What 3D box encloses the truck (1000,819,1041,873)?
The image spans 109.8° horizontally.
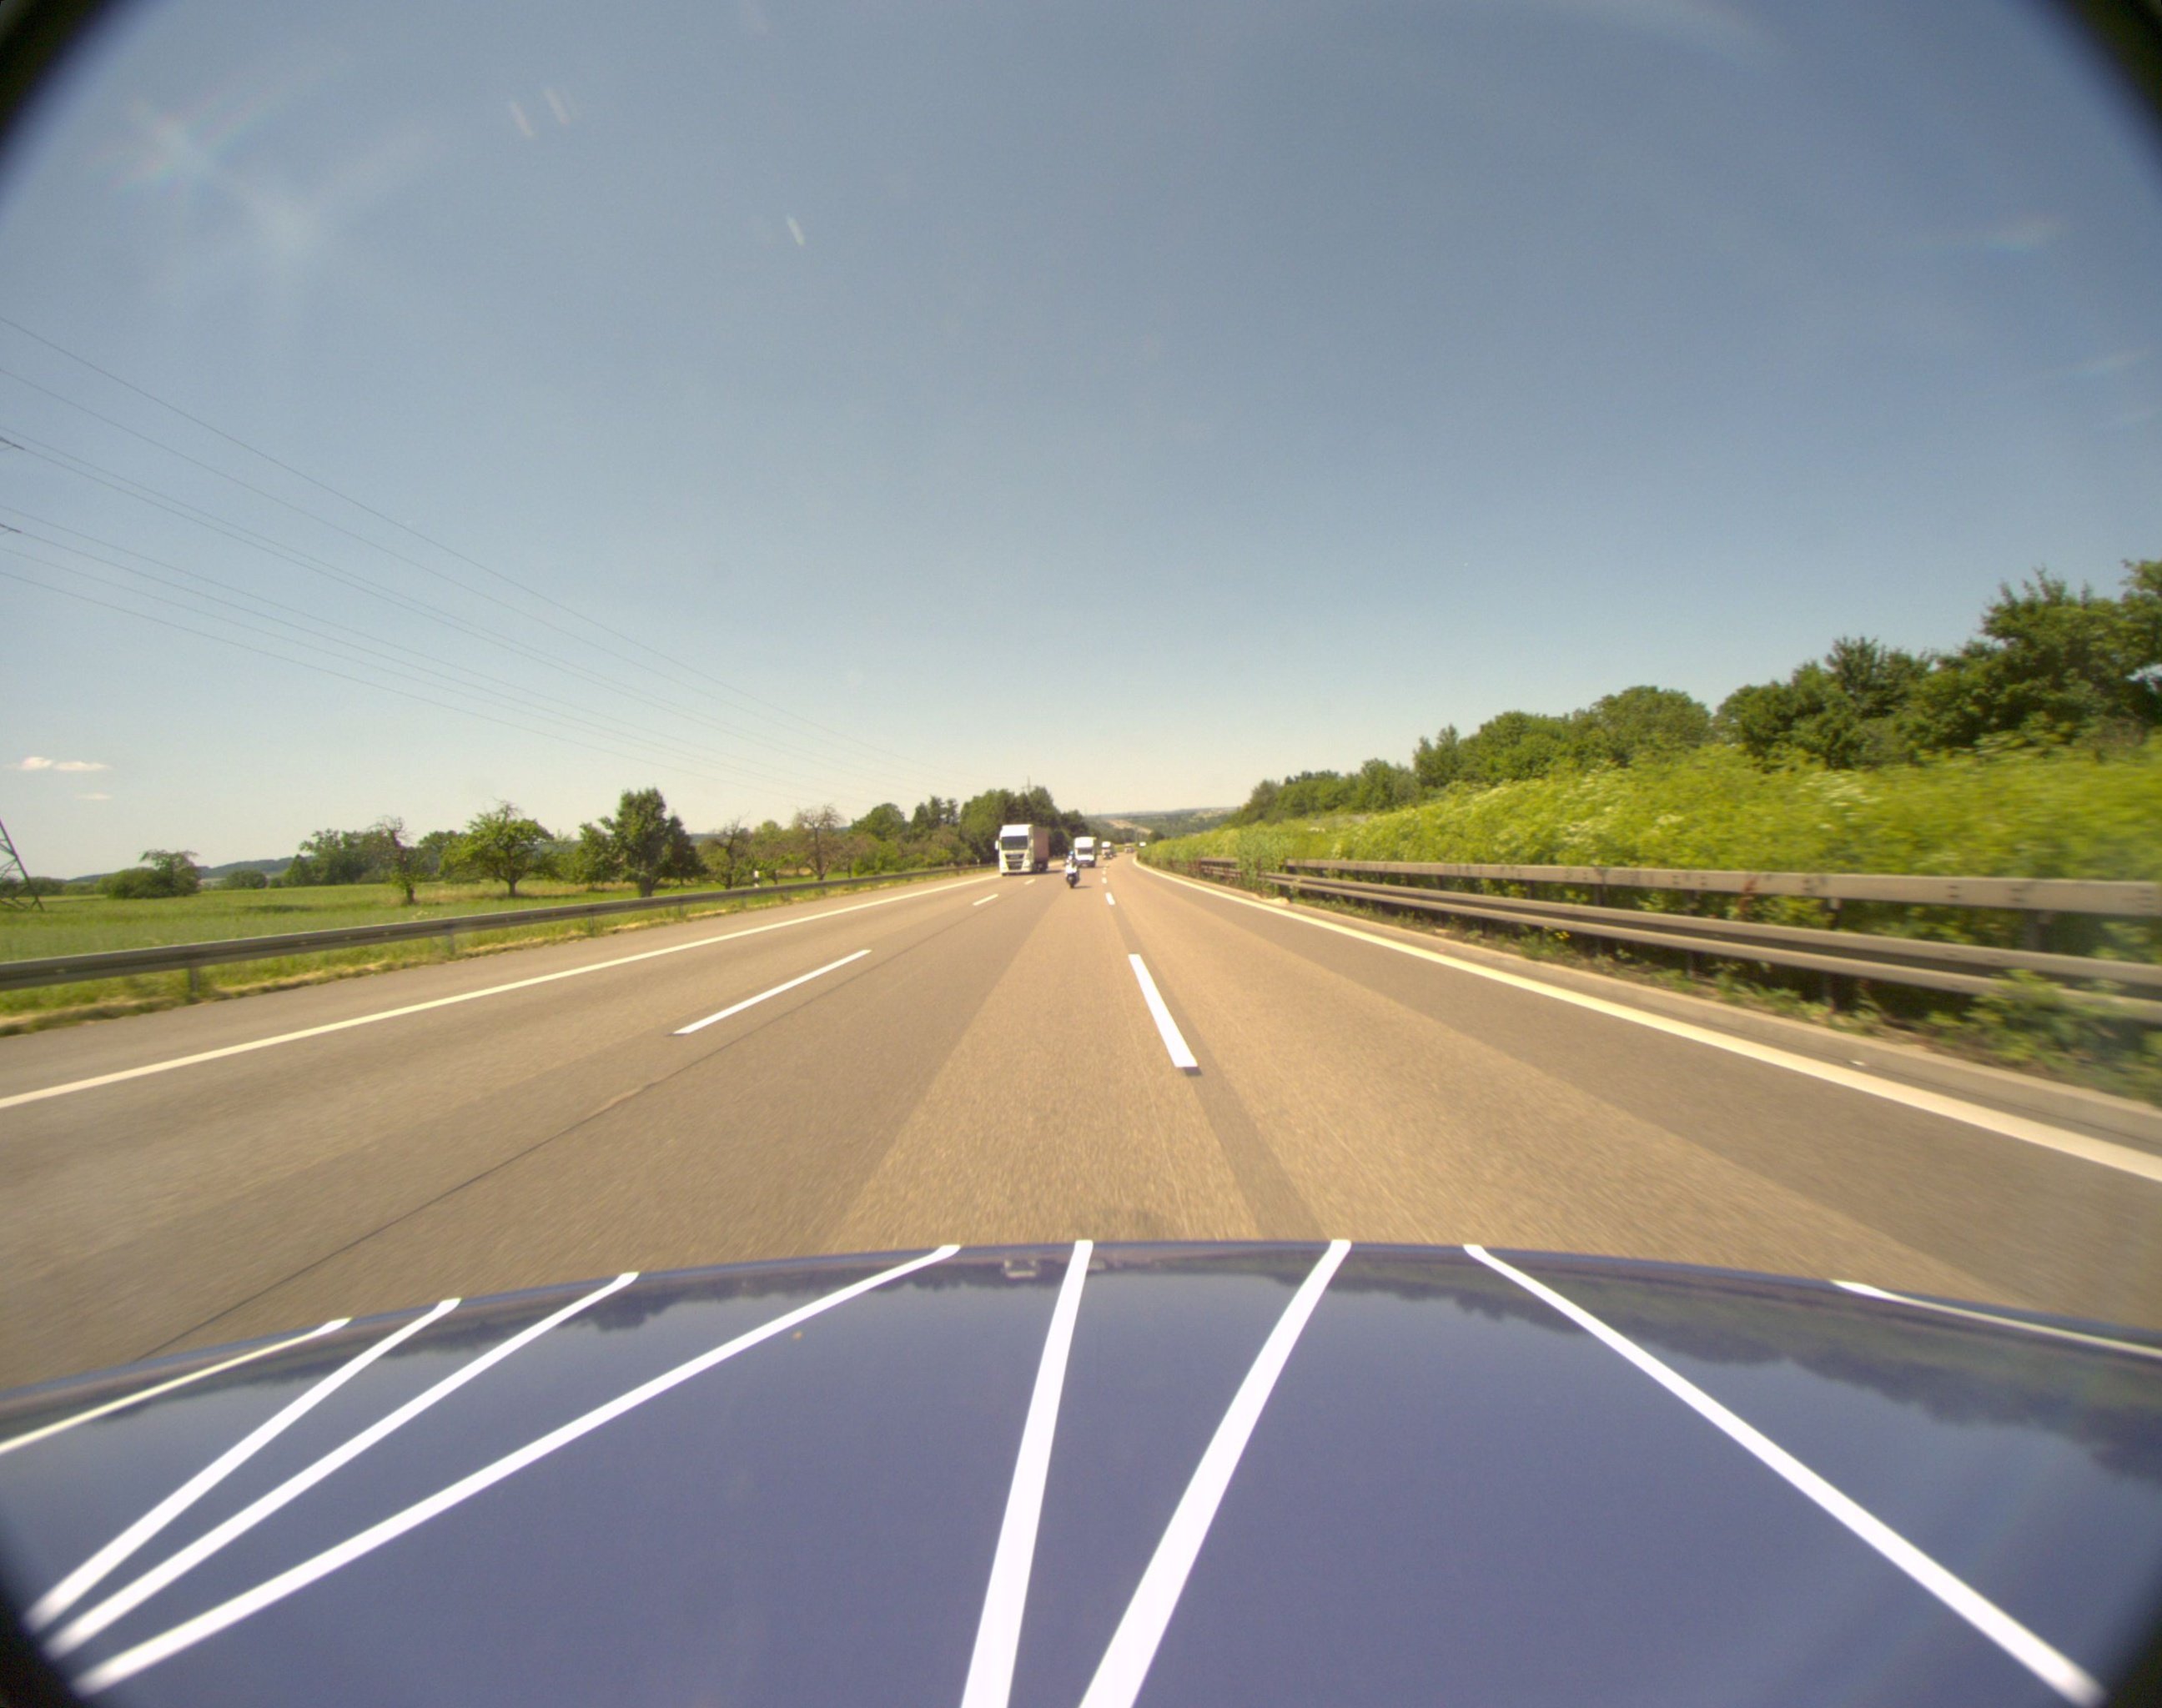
[{"bbox_3d":[-4.875,-0.655,62.676,2.567,4.130,6.248,-2,1,2],"label":"truck"}]

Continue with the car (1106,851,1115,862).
[{"bbox_3d":[5.983,0.494,154.050,1.704,1.958,4.000,-2,1,3],"label":"car"}]

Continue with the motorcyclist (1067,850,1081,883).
[{"bbox_3d":[-0.330,0.554,35.213,0.613,1.499,0.513,-2,1,-1],"label":"motorcyclist"}]

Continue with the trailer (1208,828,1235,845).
[{"bbox_3d":[24.504,-2.987,132.936,2.680,2.785,12.314,-2,1,2],"label":"trailer"}]

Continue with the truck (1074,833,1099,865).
[{"bbox_3d":[0.648,-0.558,83.911,2.512,3.268,8.106,-1,1,1],"label":"truck"}]

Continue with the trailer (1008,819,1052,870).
[{"bbox_3d":[-4.543,-0.861,70.893,2.607,4.239,13.033,-2,1,2],"label":"trailer"}]

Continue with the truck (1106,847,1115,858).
[{"bbox_3d":[9.078,-0.483,234.083,2.590,3.444,5.963,-2,1,2],"label":"truck"}]

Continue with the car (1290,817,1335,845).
[{"bbox_3d":[21.500,-2.059,70.750,2.576,2.438,5.513,-2,1,2],"label":"car"}]

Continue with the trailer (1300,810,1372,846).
[{"bbox_3d":[21.313,-2.095,64.349,2.573,2.694,11.407,-2,1,2],"label":"trailer"}]

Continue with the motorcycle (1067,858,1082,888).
[{"bbox_3d":[-0.321,0.852,35.019,0.631,1.279,2.312,-3,1,-1],"label":"motorcycle"}]
